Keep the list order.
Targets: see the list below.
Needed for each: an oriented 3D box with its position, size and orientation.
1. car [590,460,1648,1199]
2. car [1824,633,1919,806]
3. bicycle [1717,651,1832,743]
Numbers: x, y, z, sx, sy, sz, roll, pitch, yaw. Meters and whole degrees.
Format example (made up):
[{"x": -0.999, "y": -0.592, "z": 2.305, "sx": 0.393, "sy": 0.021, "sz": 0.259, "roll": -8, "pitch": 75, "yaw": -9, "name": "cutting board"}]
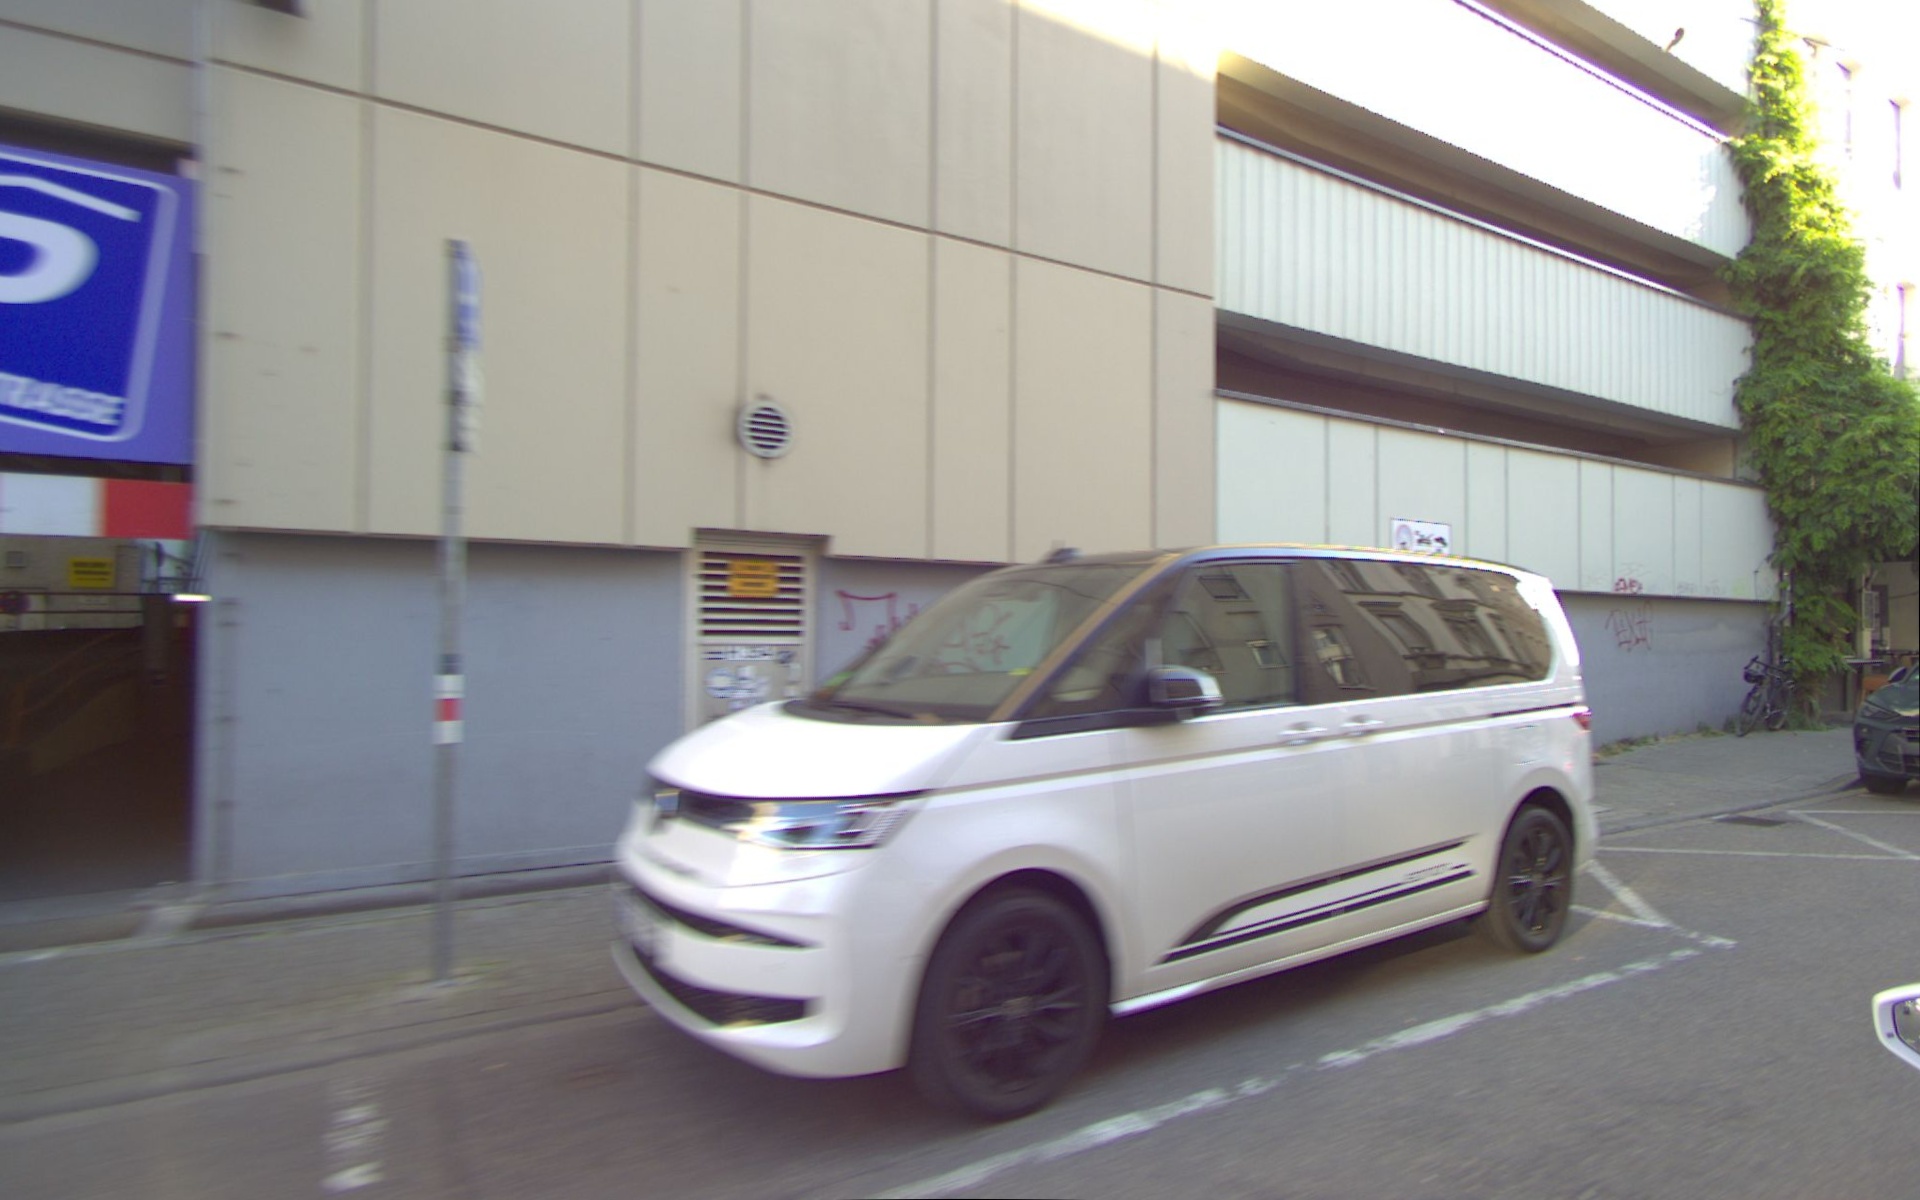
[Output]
[{"x": 0.974, "y": 0.716, "z": 4.713, "sx": 4.798, "sy": 1.965, "sz": 1.983, "roll": 1, "pitch": -3, "yaw": -33, "name": "car"}, {"x": 10.975, "y": 1.136, "z": 10.312, "sx": 4.719, "sy": 1.588, "sz": 1.871, "roll": 1, "pitch": -4, "yaw": -33, "name": "car"}, {"x": 11.339, "y": 1.312, "z": 13.969, "sx": 1.772, "sy": 1.175, "sz": 0.640, "roll": 1, "pitch": -1, "yaw": -30, "name": "bicycle"}]
